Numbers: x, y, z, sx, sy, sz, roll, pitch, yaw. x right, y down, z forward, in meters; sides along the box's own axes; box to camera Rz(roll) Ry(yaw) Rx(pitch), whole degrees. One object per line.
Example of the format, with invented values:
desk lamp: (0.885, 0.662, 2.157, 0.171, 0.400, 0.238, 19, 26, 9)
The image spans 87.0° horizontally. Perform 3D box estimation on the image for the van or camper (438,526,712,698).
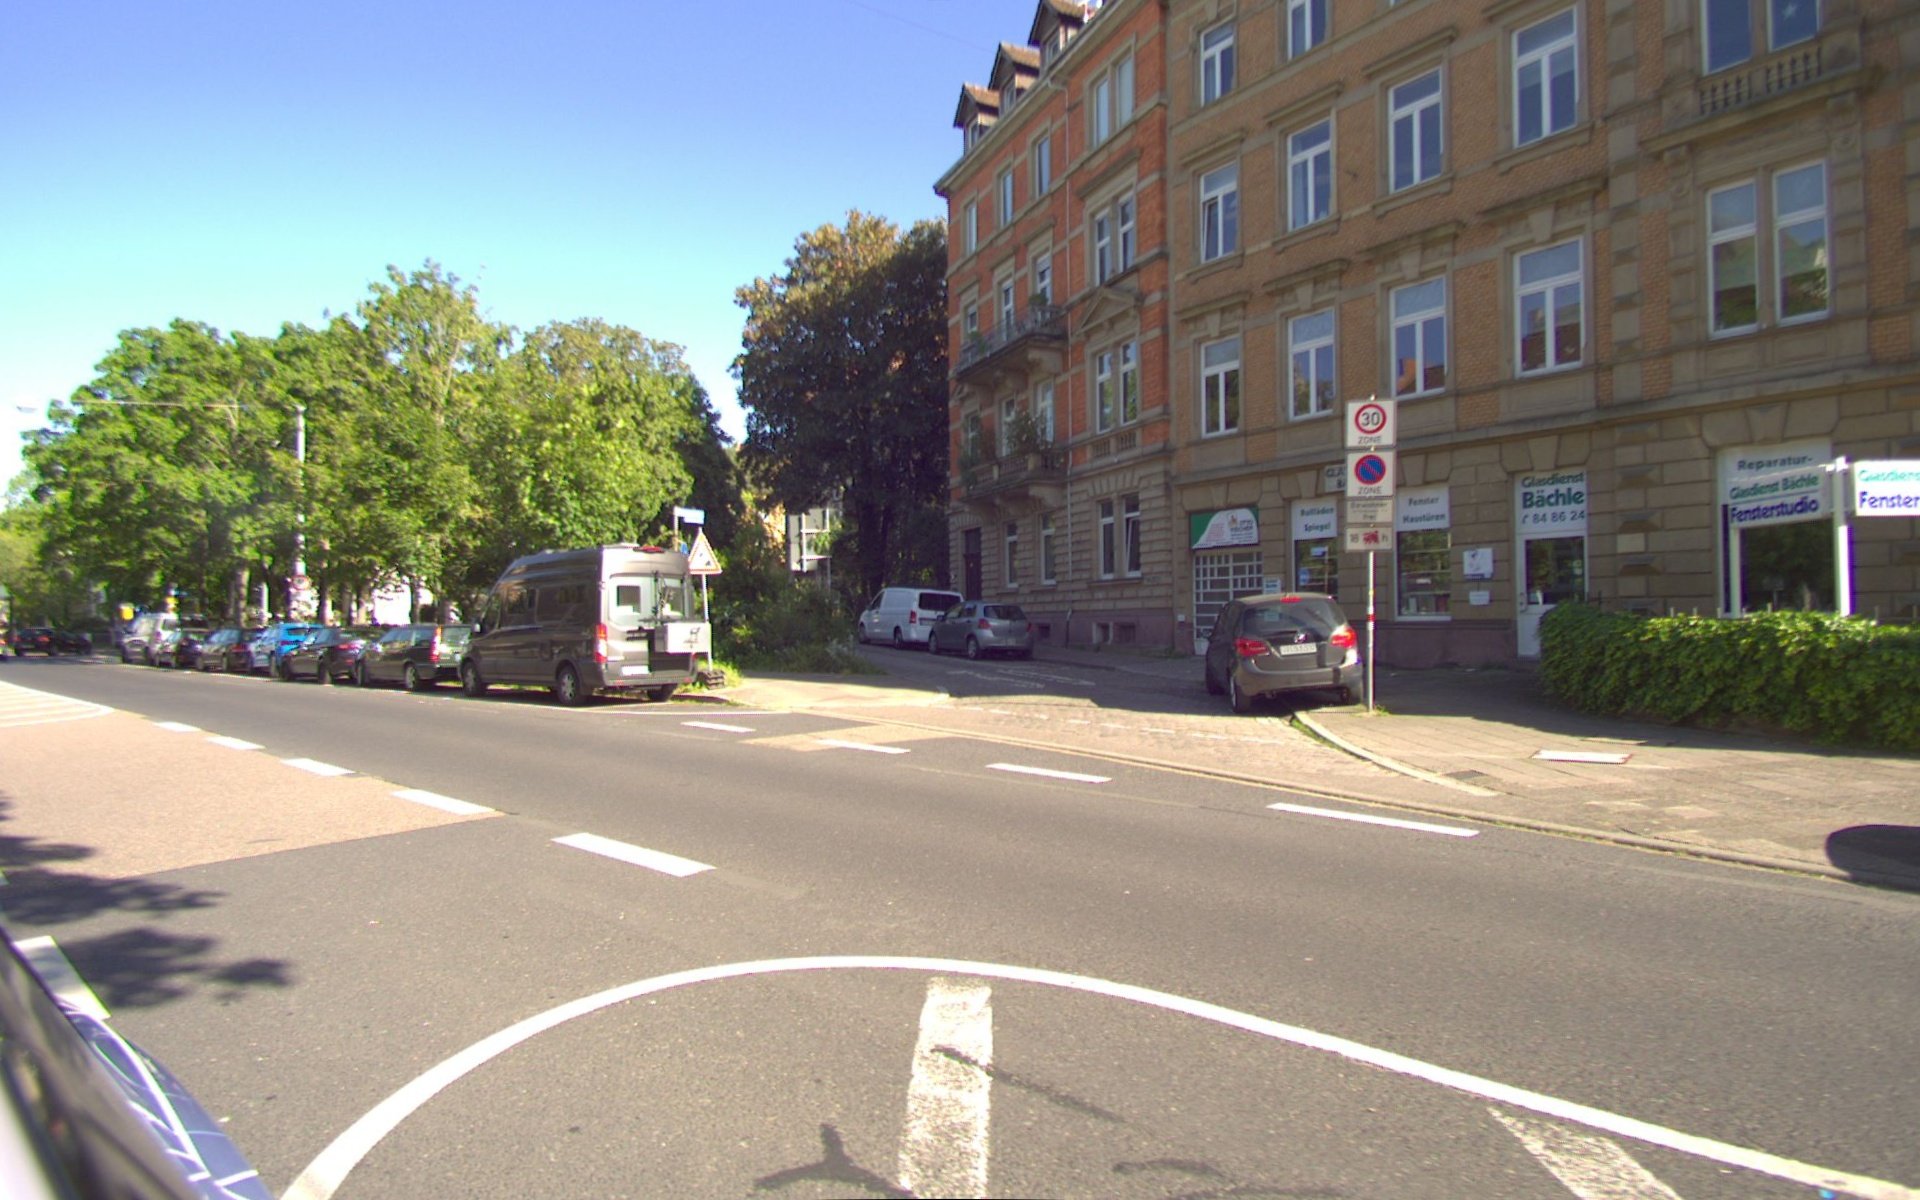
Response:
van or camper: (-7.414, 0.257, 19.068, 6.084, 2.760, 2.193, -2, -2, 41)

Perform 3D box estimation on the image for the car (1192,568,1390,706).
car: (4.757, 0.442, 15.184, 1.976, 1.682, 4.135, -3, 1, 7)

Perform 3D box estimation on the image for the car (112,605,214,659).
car: (-32.112, 1.297, 40.729, 4.867, 2.052, 1.965, -1, -4, 37)

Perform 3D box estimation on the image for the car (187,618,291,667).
car: (-23.534, 1.339, 33.004, 4.265, 1.493, 1.575, -1, -2, 38)

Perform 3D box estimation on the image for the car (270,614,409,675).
car: (-15.939, 1.127, 25.902, 4.402, 1.424, 1.762, -2, -3, 41)

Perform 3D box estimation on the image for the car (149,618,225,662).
car: (-28.465, 1.443, 37.233, 3.956, 1.513, 1.449, -1, -2, 41)

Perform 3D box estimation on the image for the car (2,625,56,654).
car: (-47.848, 2.008, 51.988, 4.131, 1.461, 1.576, -2, -2, 41)

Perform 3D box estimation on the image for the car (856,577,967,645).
car: (-1.586, 0.332, 31.128, 1.833, 1.928, 4.466, 2, -1, -25)

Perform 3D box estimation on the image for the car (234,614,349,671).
car: (-19.892, 1.237, 30.025, 4.557, 1.550, 1.761, -2, -2, 42)

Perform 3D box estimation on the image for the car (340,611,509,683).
car: (-12.134, 1.038, 22.793, 4.659, 1.468, 1.677, -2, -3, 39)

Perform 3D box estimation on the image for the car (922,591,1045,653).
car: (0.549, 0.567, 26.753, 1.833, 1.524, 3.541, 2, -1, -25)
